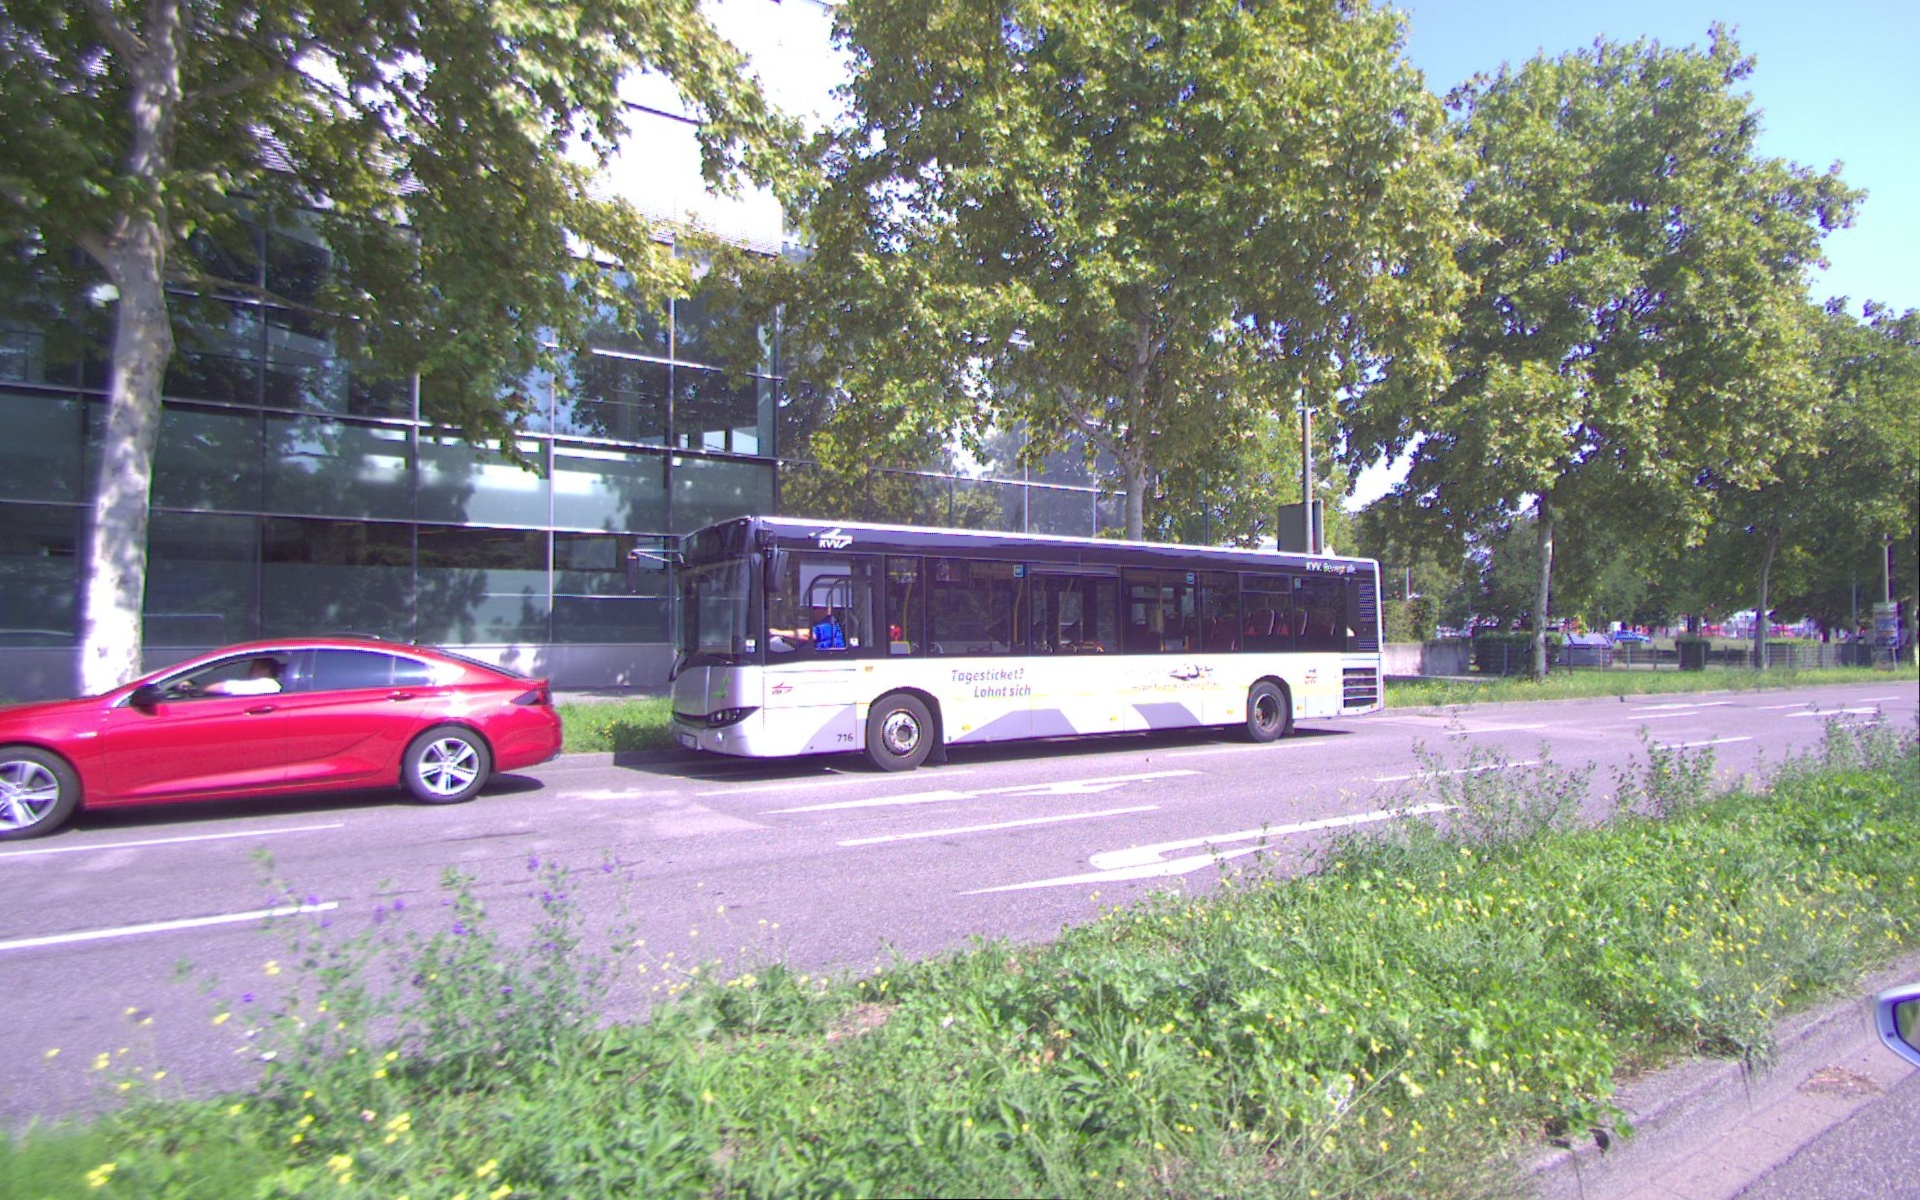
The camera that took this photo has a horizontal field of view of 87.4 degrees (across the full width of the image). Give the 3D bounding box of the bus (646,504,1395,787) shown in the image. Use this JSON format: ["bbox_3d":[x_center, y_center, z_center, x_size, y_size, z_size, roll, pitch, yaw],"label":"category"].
[{"bbox_3d":[1.505,0.659,13.761,10.789,2.729,2.647,2,-4,-33],"label":"bus"}]

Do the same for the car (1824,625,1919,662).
[{"bbox_3d":[66.684,3.099,72.974,2.254,2.369,5.551,-2,1,-33],"label":"car"}]

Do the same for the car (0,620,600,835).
[{"bbox_3d":[-6.020,1.007,8.770,5.157,1.530,1.770,2,-4,-33],"label":"car"}]

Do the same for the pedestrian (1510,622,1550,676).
[{"bbox_3d":[22.318,1.892,39.332,0.995,2.041,1.269,-1,1,10],"label":"pedestrian"}]

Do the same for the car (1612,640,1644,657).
[{"bbox_3d":[66.381,4.787,99.819,1.895,1.472,3.998,0,1,22],"label":"car"}]

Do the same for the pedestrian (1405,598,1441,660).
[{"bbox_3d":[18.319,1.128,39.749,0.903,2.423,0.966,-1,1,-25],"label":"pedestrian"}]
